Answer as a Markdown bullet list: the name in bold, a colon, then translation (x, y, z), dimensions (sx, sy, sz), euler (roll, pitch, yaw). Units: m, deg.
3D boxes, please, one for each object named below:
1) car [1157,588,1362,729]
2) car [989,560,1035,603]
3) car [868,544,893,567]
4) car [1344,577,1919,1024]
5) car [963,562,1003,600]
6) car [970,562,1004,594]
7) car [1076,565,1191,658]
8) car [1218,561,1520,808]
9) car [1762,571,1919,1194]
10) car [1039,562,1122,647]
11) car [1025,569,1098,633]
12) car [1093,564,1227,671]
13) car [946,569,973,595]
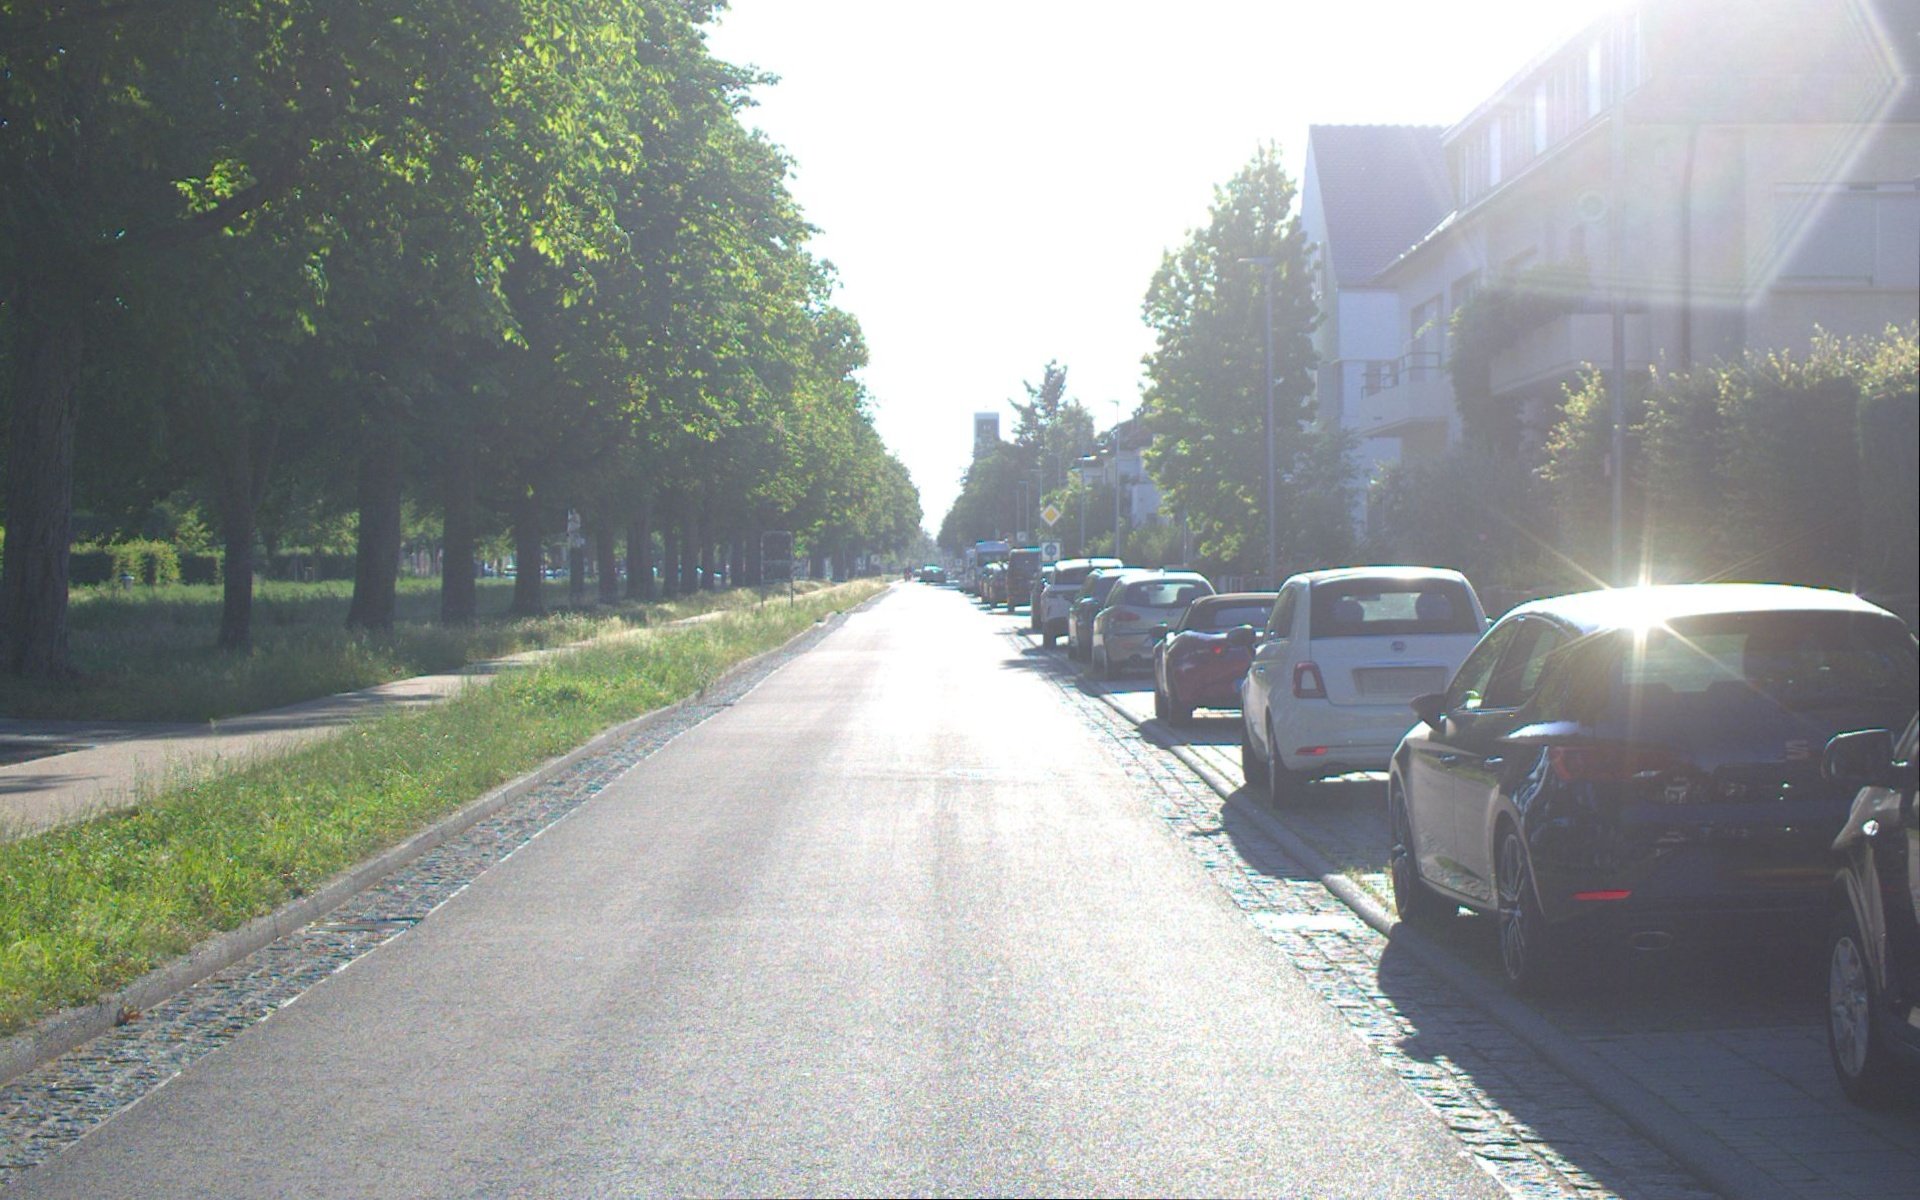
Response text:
- **car**: translation (2.807, 0.520, 32.846), dimensions (1.693, 1.244, 3.497), euler (0, 1, 1)
- **car**: translation (1.916, -0.676, 127.042), dimensions (1.652, 1.536, 3.266), euler (1, 1, 1)
- **car**: translation (-5.448, -3.076, 236.923), dimensions (1.652, 1.536, 3.267), euler (1, 1, 0)
- **car**: translation (2.686, 0.656, 13.536), dimensions (1.736, 1.444, 4.197), euler (-2, 0, -2)
- **car**: translation (0.968, -0.790, 144.456), dimensions (1.652, 1.536, 3.266), euler (1, 1, 1)
- **car**: translation (1.367, -1.095, 171.172), dimensions (1.652, 1.536, 3.266), euler (1, 1, 1)
- **car**: translation (2.663, 0.158, 53.215), dimensions (1.652, 1.391, 3.266), euler (0, 1, 1)
- **car**: translation (2.642, 0.500, 22.864), dimensions (1.592, 1.505, 3.591), euler (0, 1, 0)
- **car**: translation (3.120, 0.661, 8.311), dimensions (1.658, 1.489, 3.715), euler (-1, 0, 3)
- **car**: translation (2.259, 0.068, 65.168), dimensions (1.498, 1.561, 3.266), euler (0, 1, 1)
- **car**: translation (2.290, 0.008, 78.301), dimensions (1.594, 1.429, 3.266), euler (0, 1, 1)
- **car**: translation (2.673, 0.212, 46.545), dimensions (1.652, 1.391, 3.266), euler (0, 1, 1)
- **car**: translation (-0.032, -1.098, 210.724), dimensions (1.652, 1.536, 3.267), euler (1, 1, 0)
